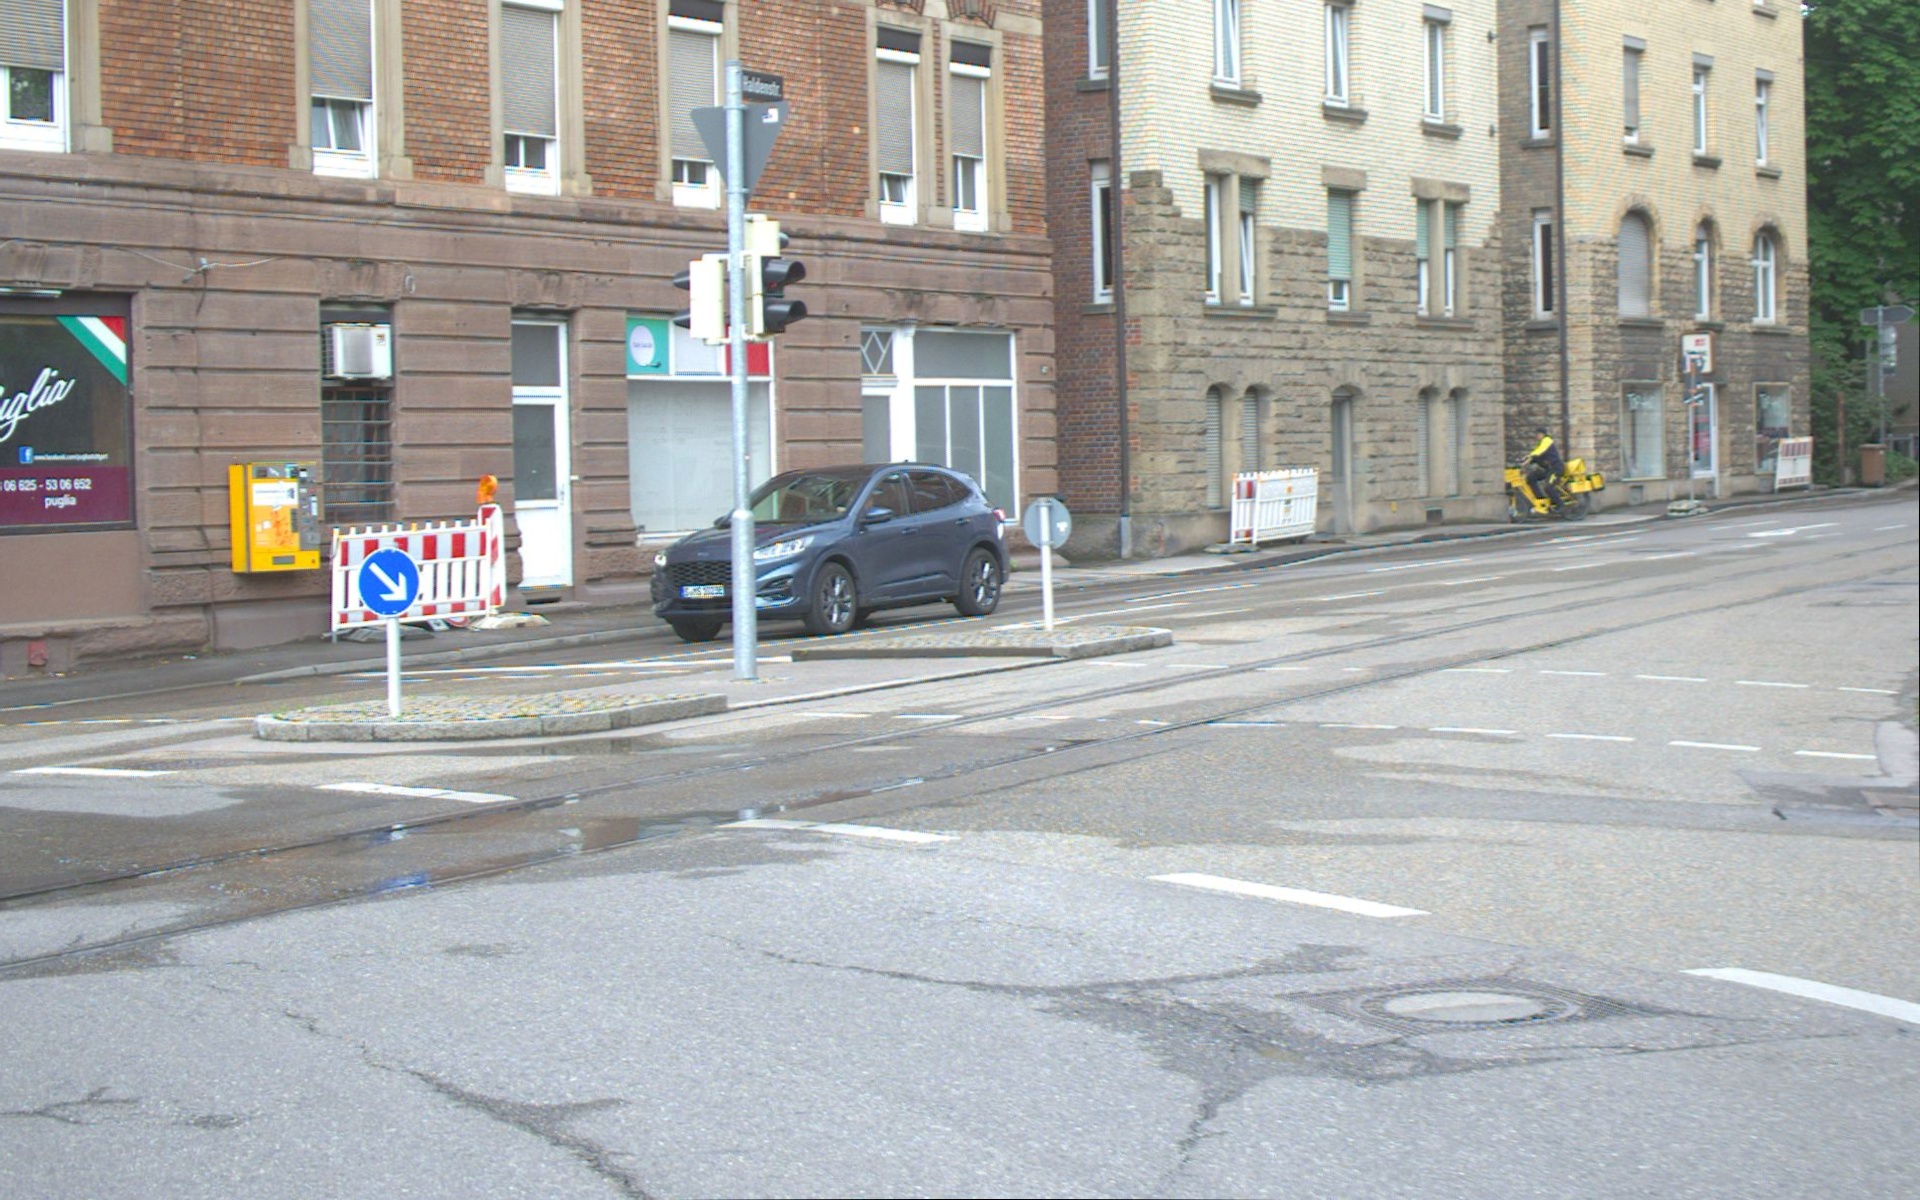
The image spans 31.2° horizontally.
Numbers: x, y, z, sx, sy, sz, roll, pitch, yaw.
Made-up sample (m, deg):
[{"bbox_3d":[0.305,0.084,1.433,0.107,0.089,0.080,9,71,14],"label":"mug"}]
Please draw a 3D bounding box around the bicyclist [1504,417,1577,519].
[{"bbox_3d":[10.194,-2.318,60.420,0.783,1.697,0.947,-5,1,-19],"label":"bicyclist"}]

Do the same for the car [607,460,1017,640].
[{"bbox_3d":[-1.397,-0.536,34.384,1.997,1.509,4.279,-3,2,31],"label":"car"}]

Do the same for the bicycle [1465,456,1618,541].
[{"bbox_3d":[10.227,-1.787,60.448,2.590,1.302,0.634,-5,1,-20],"label":"bicycle"}]
